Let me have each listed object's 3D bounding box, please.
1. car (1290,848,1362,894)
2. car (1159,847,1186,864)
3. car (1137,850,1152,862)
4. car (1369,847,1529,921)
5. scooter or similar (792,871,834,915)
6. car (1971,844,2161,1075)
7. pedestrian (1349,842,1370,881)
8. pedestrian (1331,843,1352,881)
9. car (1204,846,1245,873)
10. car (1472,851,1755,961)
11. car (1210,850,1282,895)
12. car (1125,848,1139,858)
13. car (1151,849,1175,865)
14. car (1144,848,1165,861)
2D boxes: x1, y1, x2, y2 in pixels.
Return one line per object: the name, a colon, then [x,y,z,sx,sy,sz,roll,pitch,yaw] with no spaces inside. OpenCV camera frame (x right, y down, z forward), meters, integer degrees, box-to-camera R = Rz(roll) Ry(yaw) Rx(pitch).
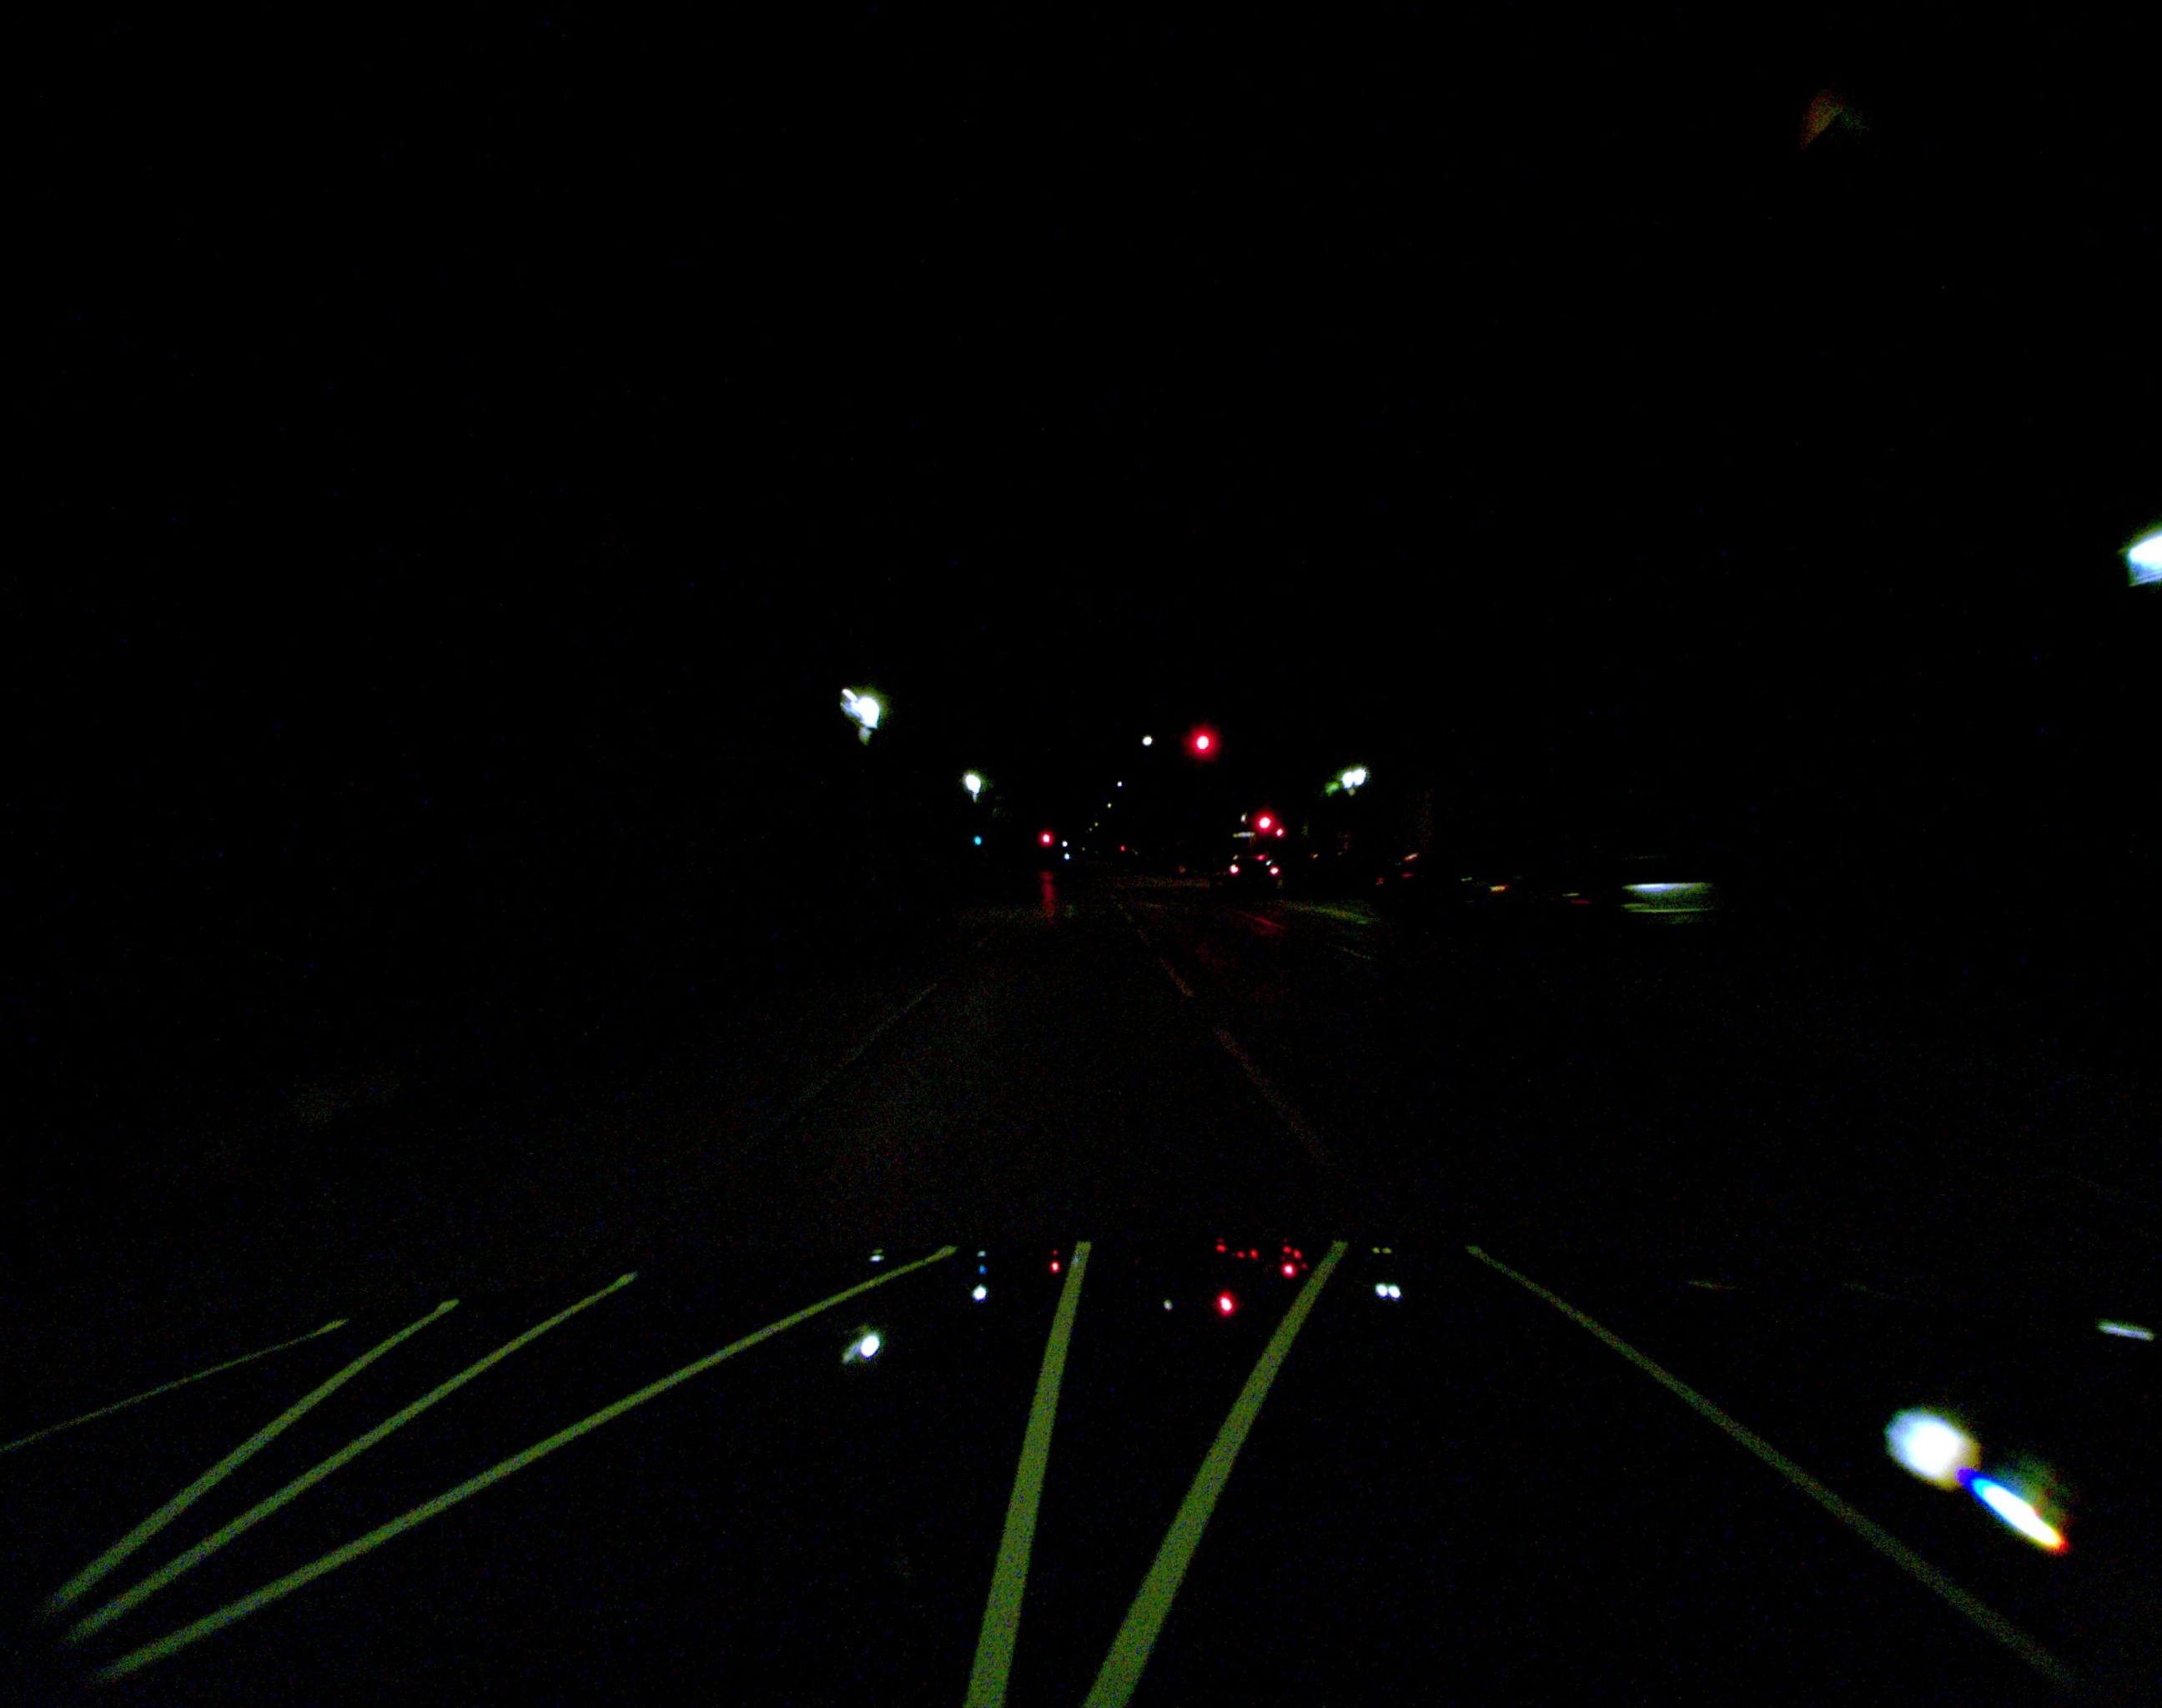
car: [8.720,0.555,27.334,1.596,1.482,3.700,-3,0,5]
car: [8.285,0.088,69.091,1.865,1.425,4.443,-2,1,0]
car: [7.985,0.270,95.612,1.555,1.425,4.347,-2,1,0]
car: [8.549,0.617,18.130,1.789,1.482,4.329,-3,0,2]
scooter or similar: [-7.283,1.045,20.684,0.422,1.124,1.494,0,1,8]
car: [8.522,0.750,4.318,1.789,1.572,4.411,-3,0,2]
pedestrian: [12.337,0.324,33.680,0.710,1.680,0.998,0,1,10]
pedestrian: [11.565,0.342,33.807,0.710,1.680,1.125,0,1,10]
car: [9.075,0.289,48.317,1.890,1.587,4.024,-2,1,2]
car: [8.392,0.710,12.502,1.789,1.482,3.999,-1,0,-1]
car: [5.761,0.603,26.961,1.719,1.421,4.000,1,0,1]
car: [7.839,-0.195,117.072,1.633,1.455,3.513,1,1,-4]
car: [7.963,0.302,74.093,1.865,1.470,4.472,-1,1,0]
car: [8.416,0.003,87.397,1.866,1.425,4.402,-1,1,-2]
